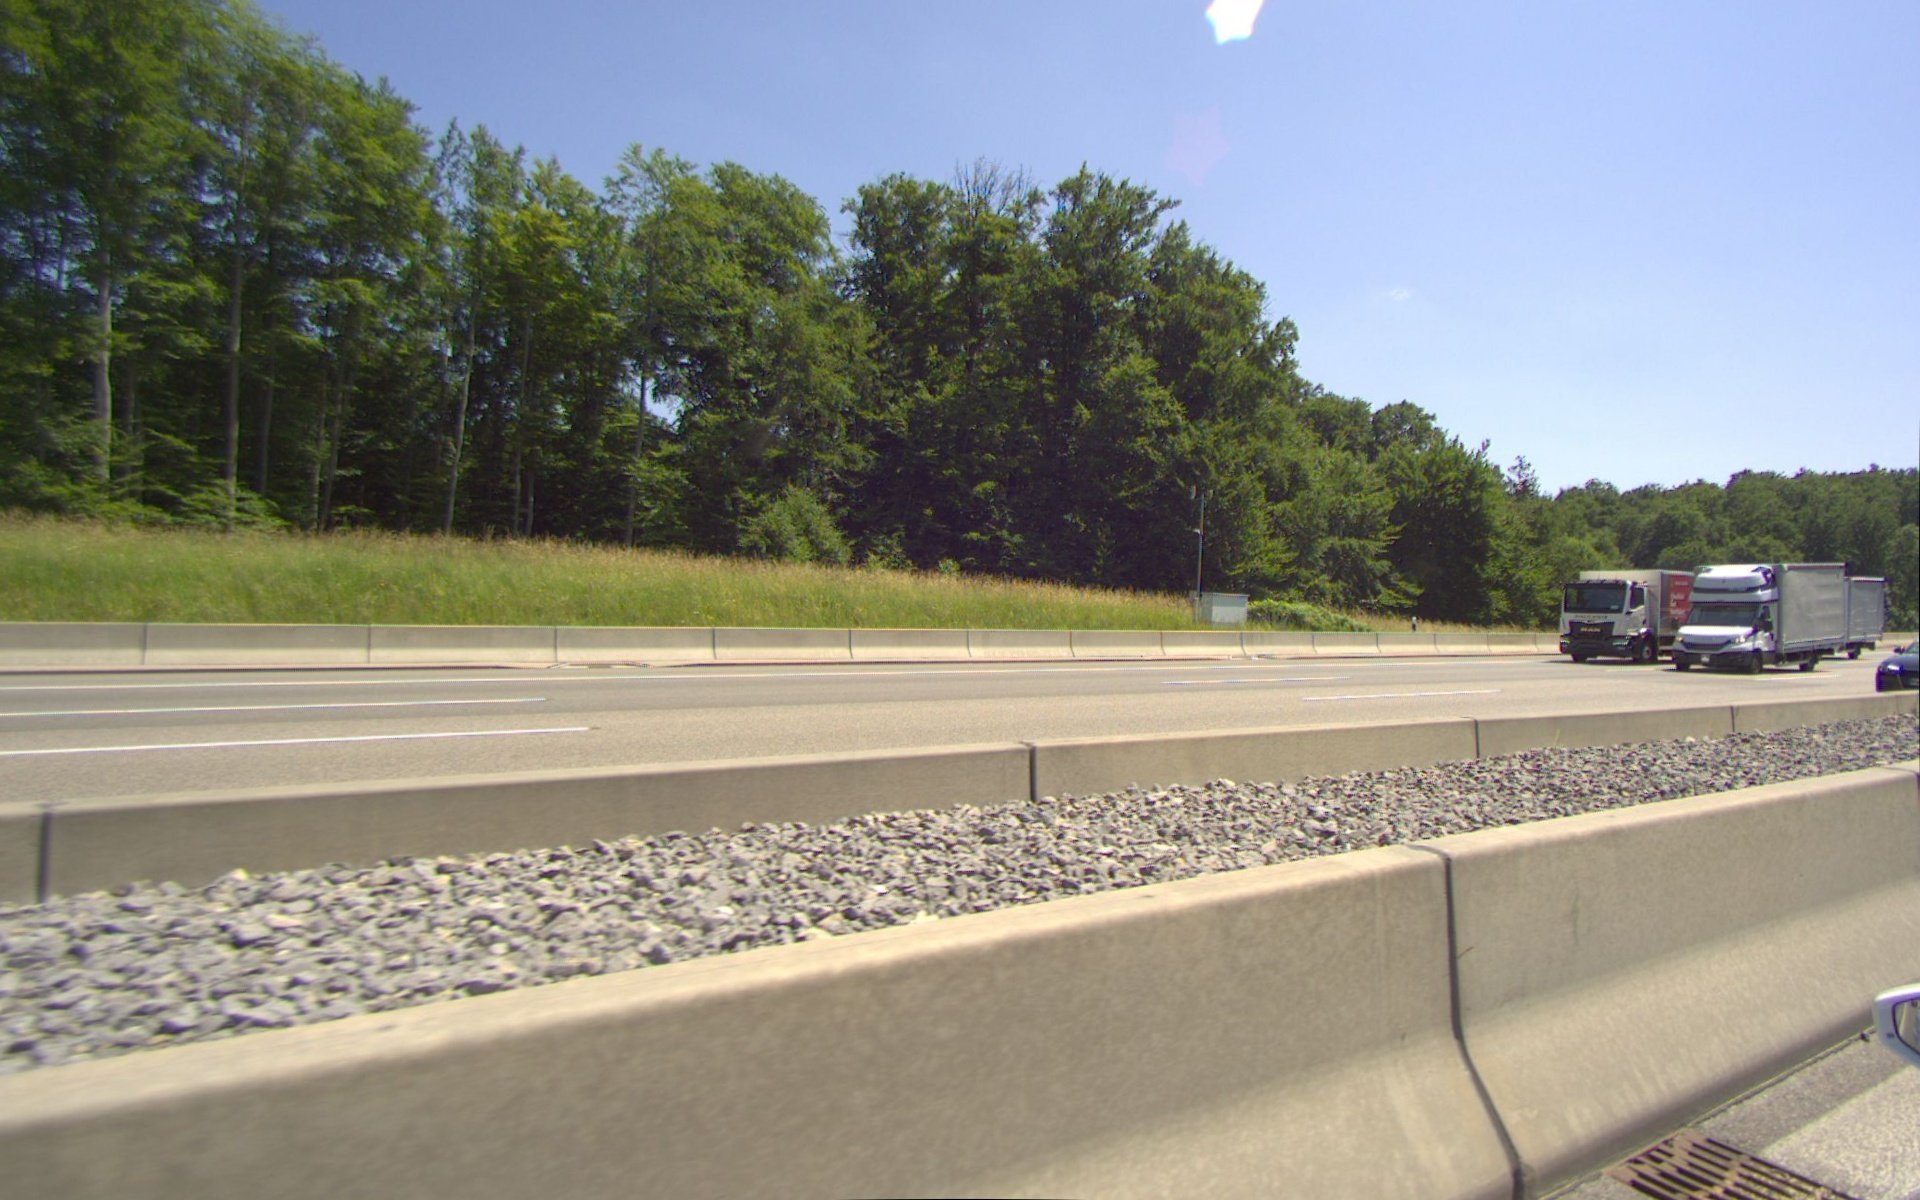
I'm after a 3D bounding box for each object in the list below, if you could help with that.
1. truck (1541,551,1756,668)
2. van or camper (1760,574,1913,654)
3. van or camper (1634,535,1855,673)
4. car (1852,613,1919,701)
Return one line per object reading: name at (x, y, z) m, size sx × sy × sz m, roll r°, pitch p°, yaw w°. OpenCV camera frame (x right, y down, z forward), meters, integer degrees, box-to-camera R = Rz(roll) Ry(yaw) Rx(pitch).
truck at (25.049, 0.439, 36.365) m, size 9.137 × 3.746 × 2.854 m, roll 3°, pitch 0°, yaw -32°
van or camper at (39.038, 0.653, 44.661) m, size 8.003 × 3.166 × 2.750 m, roll 3°, pitch 0°, yaw -31°
van or camper at (24.993, 0.232, 31.852) m, size 8.125 × 3.890 × 2.814 m, roll 3°, pitch 0°, yaw -32°
car at (19.830, 1.120, 19.767) m, size 4.786 × 1.611 × 1.984 m, roll 2°, pitch 0°, yaw -30°
